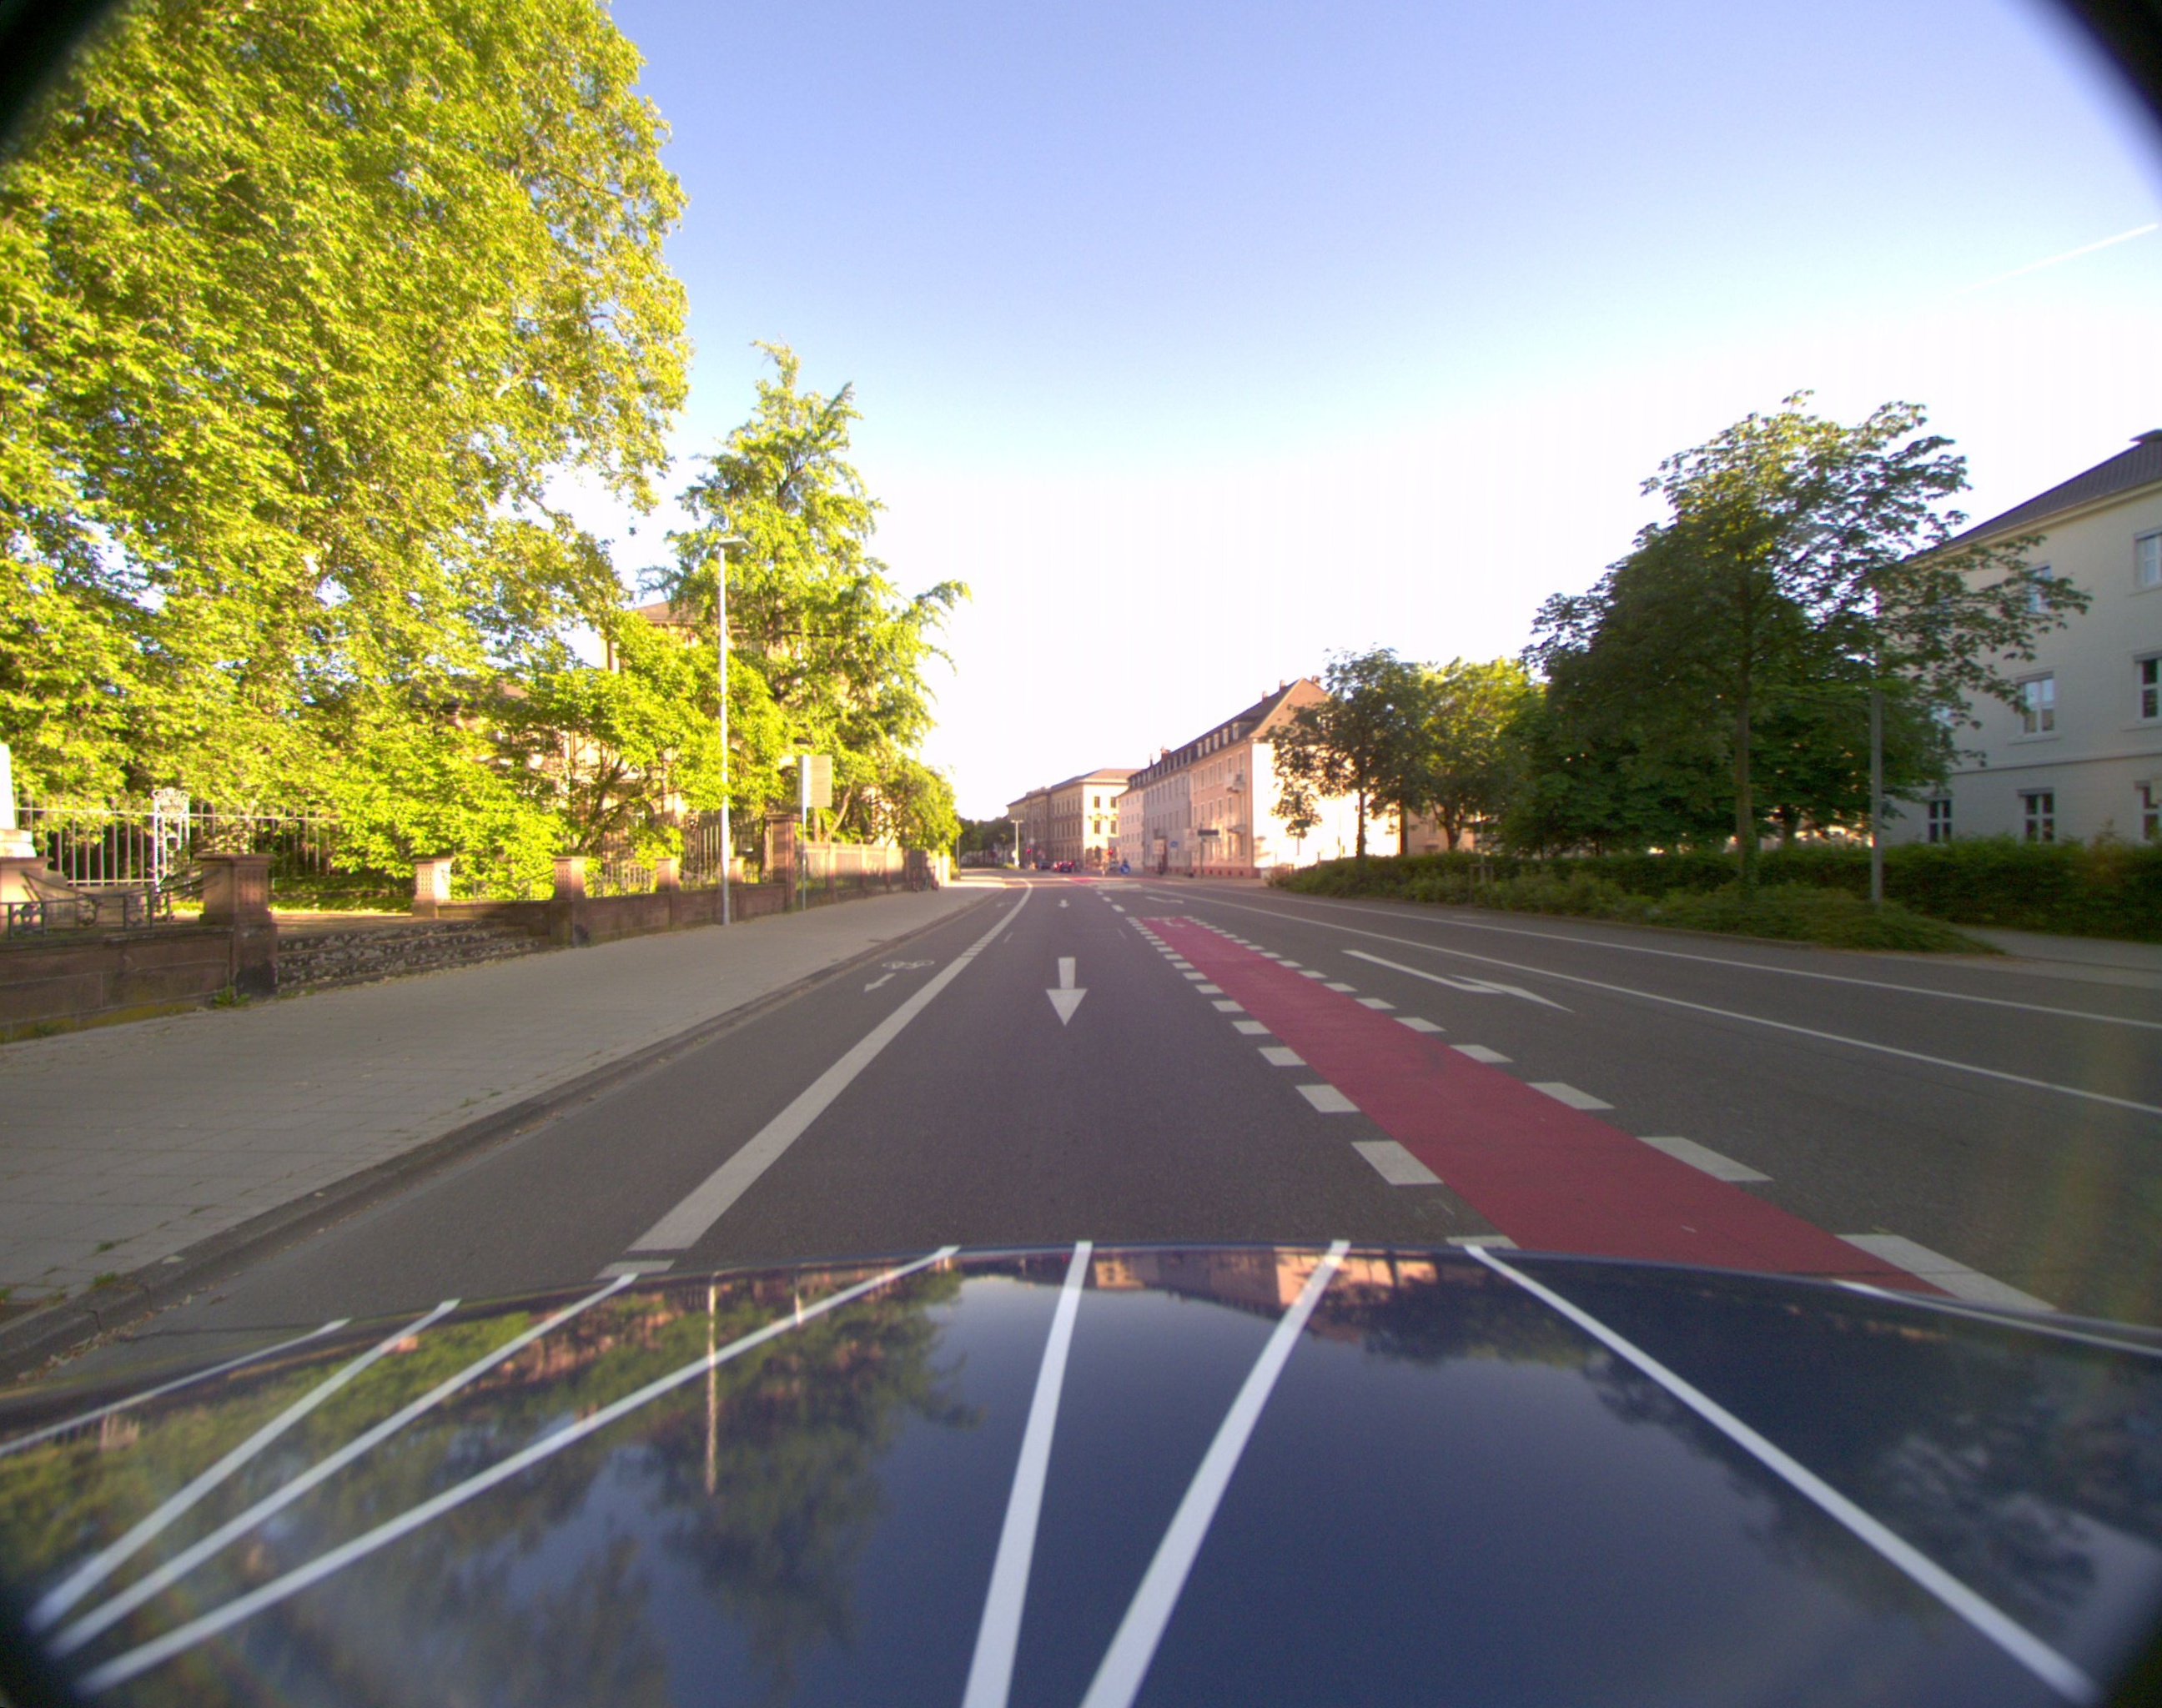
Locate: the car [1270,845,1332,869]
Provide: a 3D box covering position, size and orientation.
[{"bbox_3d":[16.640,0.237,57.576,4.000,1.652,1.998,-2,1,-9],"label":"car"}]

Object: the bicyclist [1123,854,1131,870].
[{"bbox_3d":[4.666,0.787,76.417,0.691,1.553,0.838,1,0,-3],"label":"bicyclist"}]

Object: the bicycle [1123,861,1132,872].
[{"bbox_3d":[4.654,1.242,76.505,0.697,1.152,2.245,1,0,-3],"label":"bicycle"}]

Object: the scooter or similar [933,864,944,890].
[{"bbox_3d":[-7.096,1.138,37.765,0.517,1.233,1.521,0,0,-11],"label":"scooter or similar"}]

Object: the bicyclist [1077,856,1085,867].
[{"bbox_3d":[0.011,1.014,104.069,1.026,1.481,0.870,0,0,-9],"label":"bicyclist"}]

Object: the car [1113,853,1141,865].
[{"bbox_3d":[7.768,0.829,127.775,4.513,2.093,2.000,0,0,-1],"label":"car"}]

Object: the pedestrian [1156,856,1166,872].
[{"bbox_3d":[9.462,1.195,90.079,0.949,1.894,1.062,-2,1,-7],"label":"pedestrian"}]

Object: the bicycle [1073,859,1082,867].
[{"bbox_3d":[-0.521,1.287,108.928,0.956,1.216,2.776,0,0,-9],"label":"bicycle"}]

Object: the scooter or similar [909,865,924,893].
[{"bbox_3d":[-7.556,1.134,34.830,0.577,1.246,1.486,0,0,-15],"label":"scooter or similar"}]

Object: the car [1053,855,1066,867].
[{"bbox_3d":[-3.567,1.090,127.607,1.867,1.871,4.000,-2,1,1],"label":"car"}]

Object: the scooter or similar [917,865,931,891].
[{"bbox_3d":[-7.570,1.148,36.683,0.576,1.177,1.487,0,0,-7],"label":"scooter or similar"}]

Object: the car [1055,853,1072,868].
[{"bbox_3d":[-2.335,0.883,101.909,1.999,2.002,3.998,0,0,-5],"label":"car"}]

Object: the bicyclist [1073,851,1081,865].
[{"bbox_3d":[-0.529,0.586,109.002,0.956,2.002,1.307,0,0,-9],"label":"bicyclist"}]

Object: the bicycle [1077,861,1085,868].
[{"bbox_3d":[-0.003,1.481,104.118,0.663,0.907,2.861,0,0,-9],"label":"bicycle"}]

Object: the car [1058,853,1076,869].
[{"bbox_3d":[-1.751,0.862,96.289,1.999,2.002,3.998,0,0,-5],"label":"car"}]
